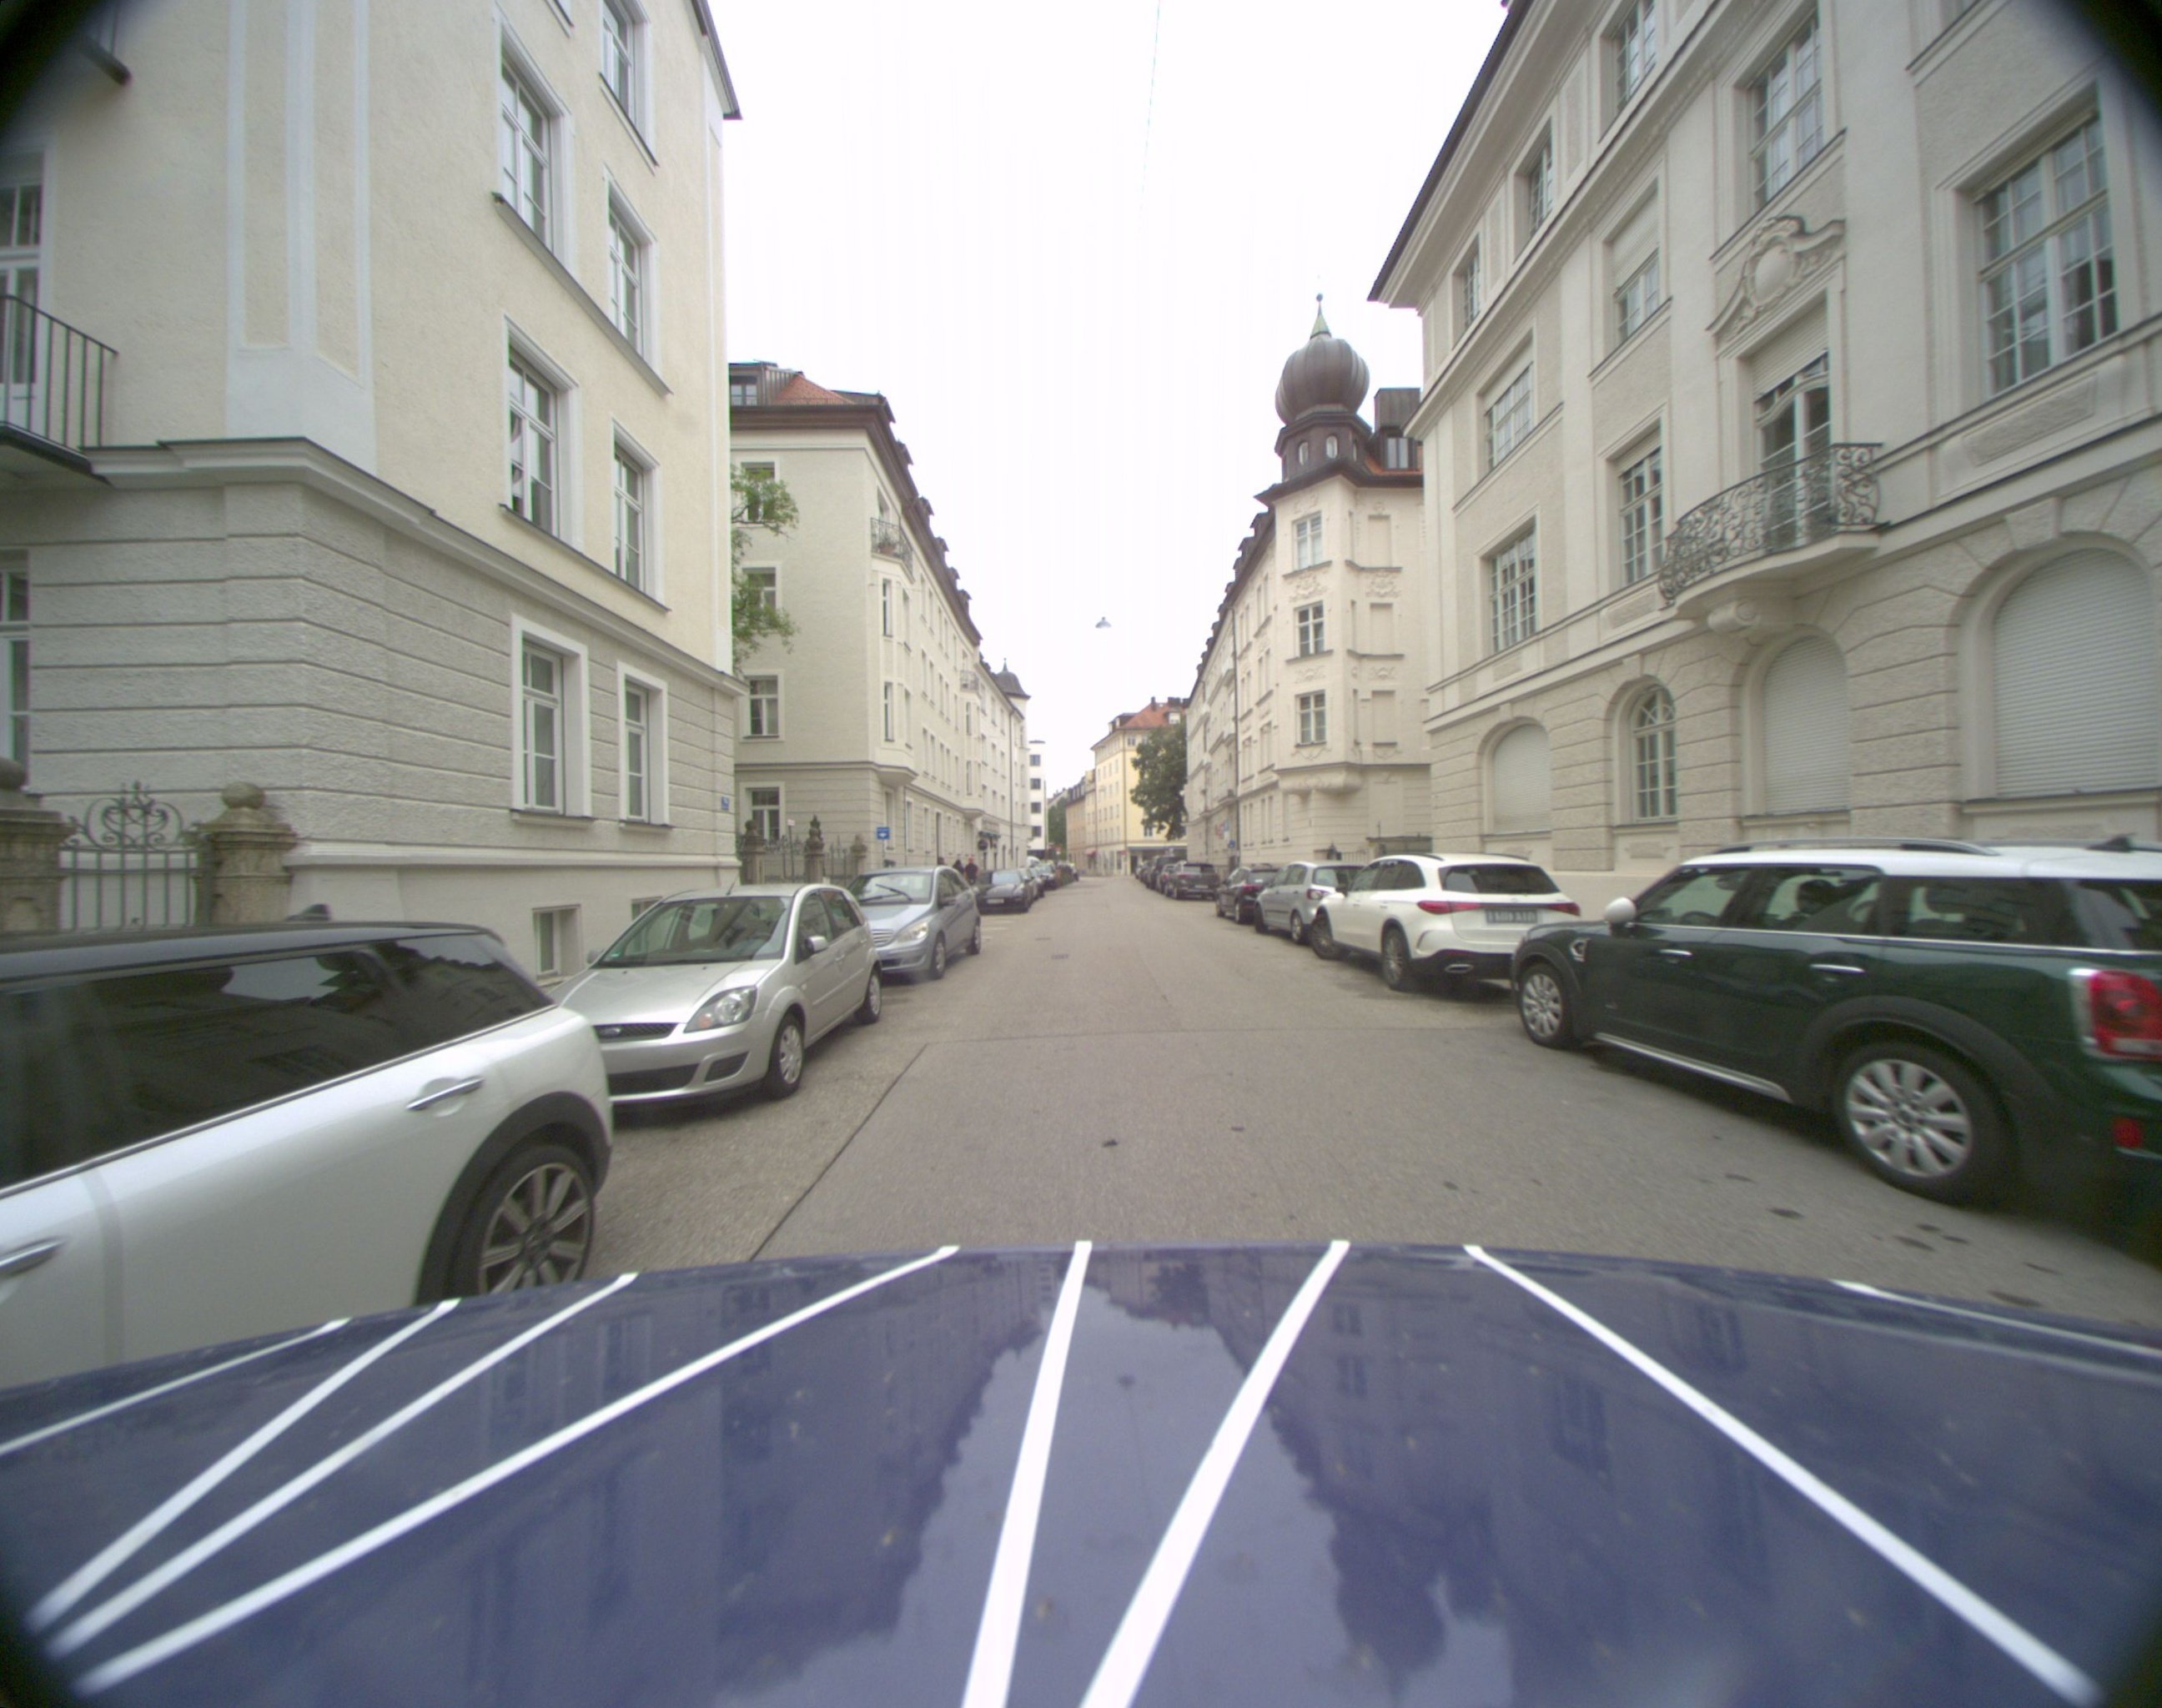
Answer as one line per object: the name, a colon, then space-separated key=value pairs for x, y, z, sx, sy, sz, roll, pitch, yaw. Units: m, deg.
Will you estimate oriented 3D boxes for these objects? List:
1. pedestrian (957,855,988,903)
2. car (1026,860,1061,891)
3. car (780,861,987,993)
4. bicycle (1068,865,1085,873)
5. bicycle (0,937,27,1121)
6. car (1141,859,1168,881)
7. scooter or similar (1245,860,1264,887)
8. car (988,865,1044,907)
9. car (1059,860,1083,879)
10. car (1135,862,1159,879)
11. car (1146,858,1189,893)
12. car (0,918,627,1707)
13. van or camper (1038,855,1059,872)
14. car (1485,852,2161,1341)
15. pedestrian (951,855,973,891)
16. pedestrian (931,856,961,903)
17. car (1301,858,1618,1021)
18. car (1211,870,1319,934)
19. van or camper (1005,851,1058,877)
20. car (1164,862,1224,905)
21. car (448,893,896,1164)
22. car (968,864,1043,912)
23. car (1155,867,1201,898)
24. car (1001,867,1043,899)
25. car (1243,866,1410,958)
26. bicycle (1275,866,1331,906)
pedestrian: x=-4.166 y=0.951 z=29.250 sx=0.885 sy=1.801 sz=1.112 roll=1 pitch=0 yaw=7
car: x=-2.209 y=1.245 z=46.091 sx=1.804 sy=1.665 sz=4.189 roll=-4 pitch=0 yaw=0
car: x=-2.791 y=0.959 z=11.883 sx=1.826 sy=1.560 sz=4.401 roll=-4 pitch=-1 yaw=2
bicycle: x=-0.583 y=1.836 z=94.294 sx=1.995 sy=0.958 sz=0.973 roll=-1 pitch=0 yaw=-10
bicycle: x=-6.882 y=1.078 z=3.846 sx=0.435 sy=1.119 sz=1.882 roll=-1 pitch=0 yaw=1
car: x=5.711 y=1.235 z=59.486 sx=1.880 sy=1.590 sz=4.435 roll=-1 pitch=-1 yaw=3
scooter or similar: x=7.896 y=0.881 z=34.609 sx=0.533 sy=1.193 sz=1.548 roll=-1 pitch=0 yaw=1
car: x=-2.604 y=1.270 z=31.444 sx=1.765 sy=1.477 sz=4.421 roll=-4 pitch=-1 yaw=1
car: x=-0.875 y=1.413 z=69.412 sx=1.841 sy=1.609 sz=4.095 roll=-4 pitch=-1 yaw=2
car: x=6.070 y=1.484 z=69.910 sx=1.699 sy=1.558 sz=3.950 roll=-1 pitch=0 yaw=-2
car: x=4.803 y=1.170 z=42.662 sx=1.841 sy=1.883 sz=4.763 roll=1 pitch=-1 yaw=0
car: x=-2.721 y=1.023 z=0.952 sx=1.789 sy=1.495 sz=4.065 roll=-2 pitch=0 yaw=0
van or camper: x=-4.954 y=1.405 z=114.759 sx=1.968 sy=2.494 sz=5.717 roll=-1 pitch=-1 yaw=-14
car: x=4.508 y=0.825 z=4.586 sx=1.841 sy=1.609 sz=4.245 roll=-1 pitch=-1 yaw=0
pedestrian: x=-6.137 y=0.980 z=39.196 sx=0.885 sy=1.803 sz=1.111 roll=3 pitch=0 yaw=1
pedestrian: x=-5.193 y=0.954 z=29.354 sx=0.885 sy=1.776 sz=1.111 roll=1 pitch=0 yaw=2
car: x=4.498 y=0.895 z=9.995 sx=1.920 sy=1.609 sz=4.572 roll=-1 pitch=-1 yaw=1
car: x=4.685 y=1.167 z=19.979 sx=1.797 sy=1.407 sz=4.278 roll=1 pitch=0 yaw=0
van or camper: x=-5.650 y=1.172 z=86.564 sx=5.869 sy=2.696 sz=2.304 roll=-1 pitch=-3 yaw=-6
car: x=4.570 y=1.164 z=31.217 sx=1.731 sy=1.609 sz=4.121 roll=1 pitch=0 yaw=-1
car: x=-2.865 y=1.134 z=6.269 sx=1.758 sy=1.398 sz=3.452 roll=-2 pitch=0 yaw=0
car: x=-2.524 y=1.118 z=26.642 sx=1.998 sy=1.449 sz=4.713 roll=-2 pitch=0 yaw=2
car: x=4.686 y=1.350 z=37.221 sx=1.841 sy=1.386 sz=4.245 roll=1 pitch=-1 yaw=1
car: x=-2.795 y=1.358 z=37.028 sx=1.841 sy=1.391 sz=4.973 roll=-3 pitch=-1 yaw=-3
car: x=4.711 y=1.042 z=15.283 sx=1.787 sy=1.532 sz=4.256 roll=1 pitch=0 yaw=-3
bicycle: x=7.972 y=1.114 z=27.445 sx=1.154 sy=1.235 sz=2.716 roll=-5 pitch=0 yaw=1
